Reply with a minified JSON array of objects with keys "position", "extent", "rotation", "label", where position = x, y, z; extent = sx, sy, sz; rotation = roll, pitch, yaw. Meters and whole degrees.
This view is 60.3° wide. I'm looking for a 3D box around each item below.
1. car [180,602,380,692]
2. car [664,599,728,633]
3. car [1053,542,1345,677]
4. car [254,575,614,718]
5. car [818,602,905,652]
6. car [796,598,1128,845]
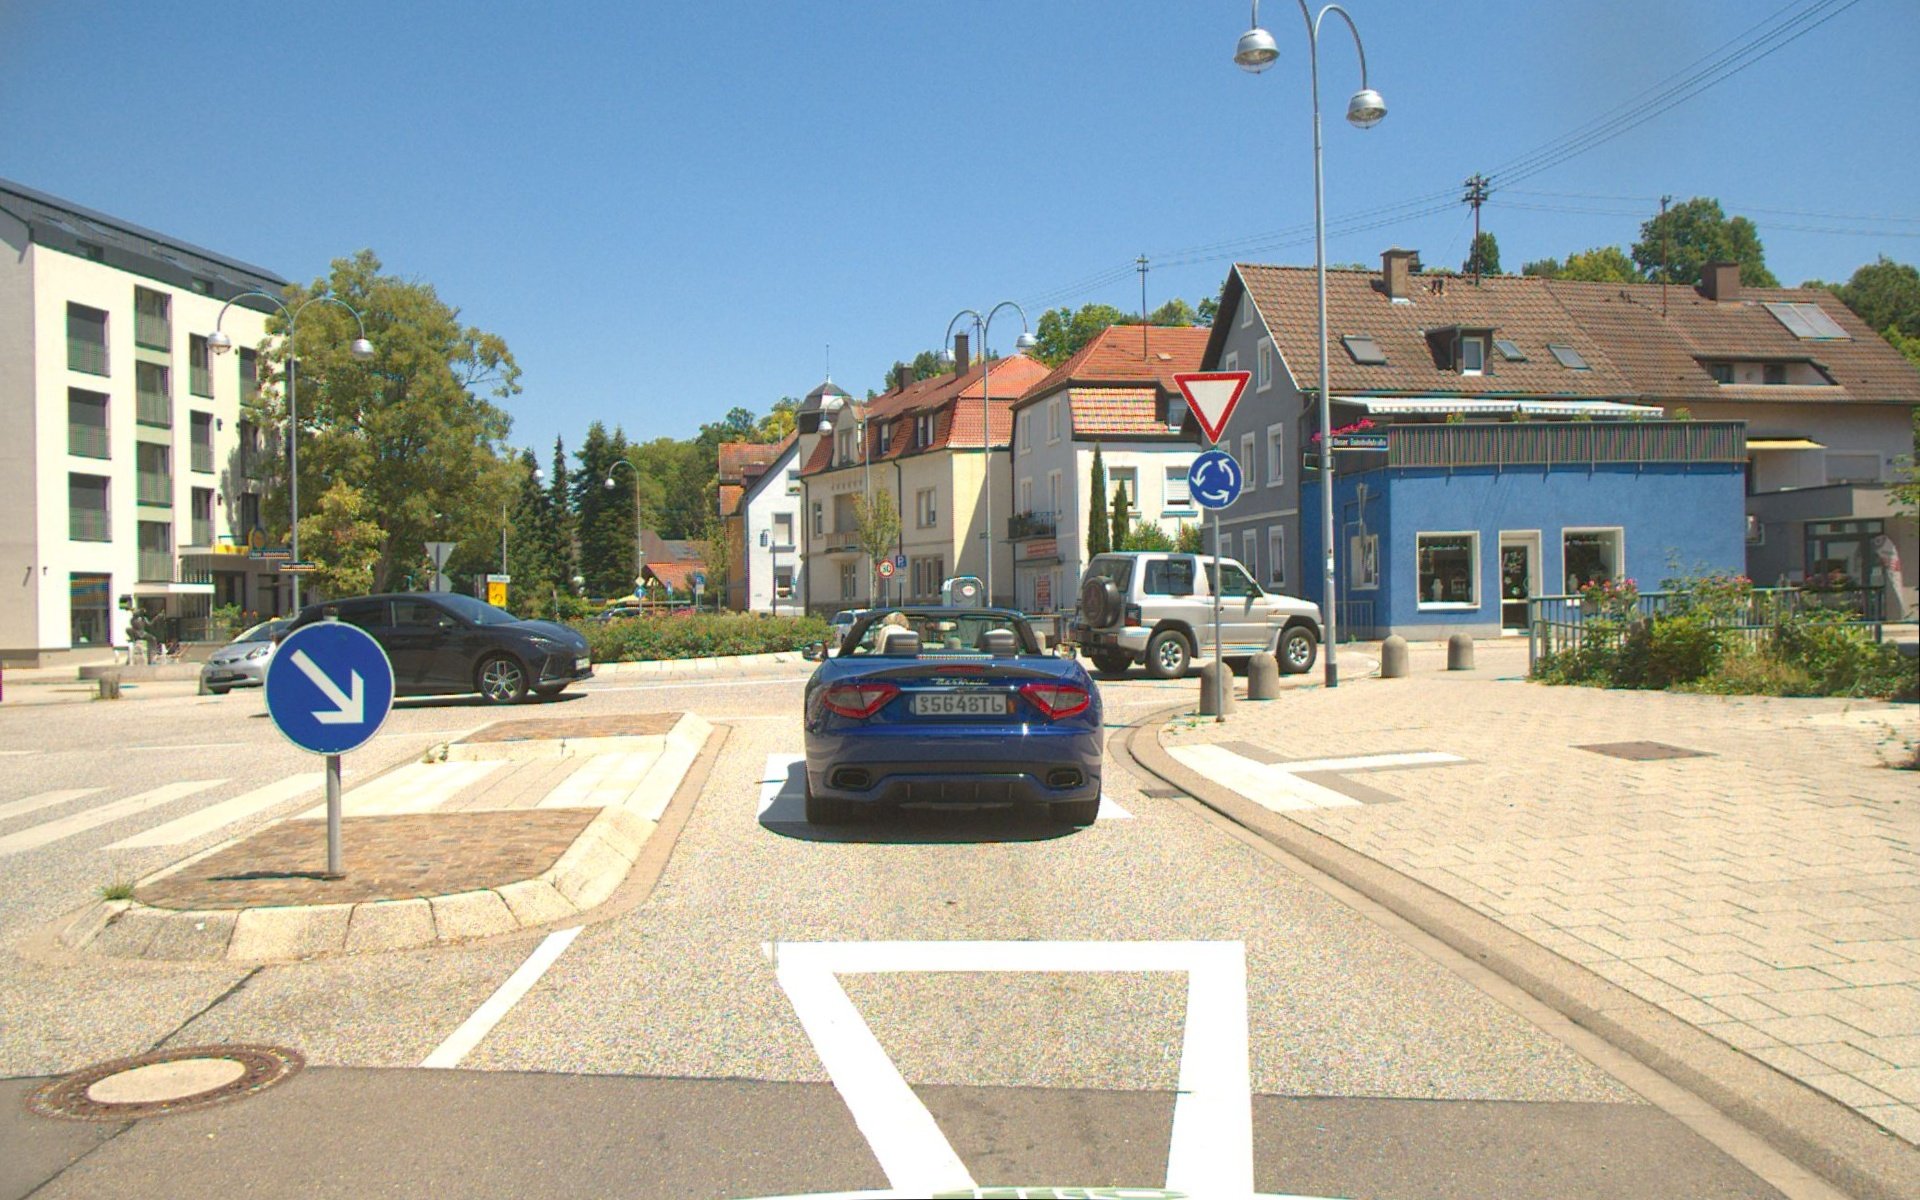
[{"position":[-13.372,0.892,32.707],"extent":[1.544,1.475,3.468],"rotation":[-3,1,26],"label":"car"},{"position":[-13.673,0.857,85.509],"extent":[1.832,1.616,3.956],"rotation":[-3,0,-32],"label":"car"},{"position":[3.644,0.076,25.142],"extent":[4.165,1.907,1.749],"rotation":[-1,2,-26],"label":"car"},{"position":[-7.042,0.602,22.372],"extent":[4.159,1.573,1.813],"rotation":[-4,1,6],"label":"car"},{"position":[-3.535,0.979,58.790],"extent":[1.891,1.641,4.120],"rotation":[-2,-1,-21],"label":"car"},{"position":[-0.006,0.693,11.518],"extent":[1.871,1.384,4.285],"rotation":[0,0,-1],"label":"car"}]
